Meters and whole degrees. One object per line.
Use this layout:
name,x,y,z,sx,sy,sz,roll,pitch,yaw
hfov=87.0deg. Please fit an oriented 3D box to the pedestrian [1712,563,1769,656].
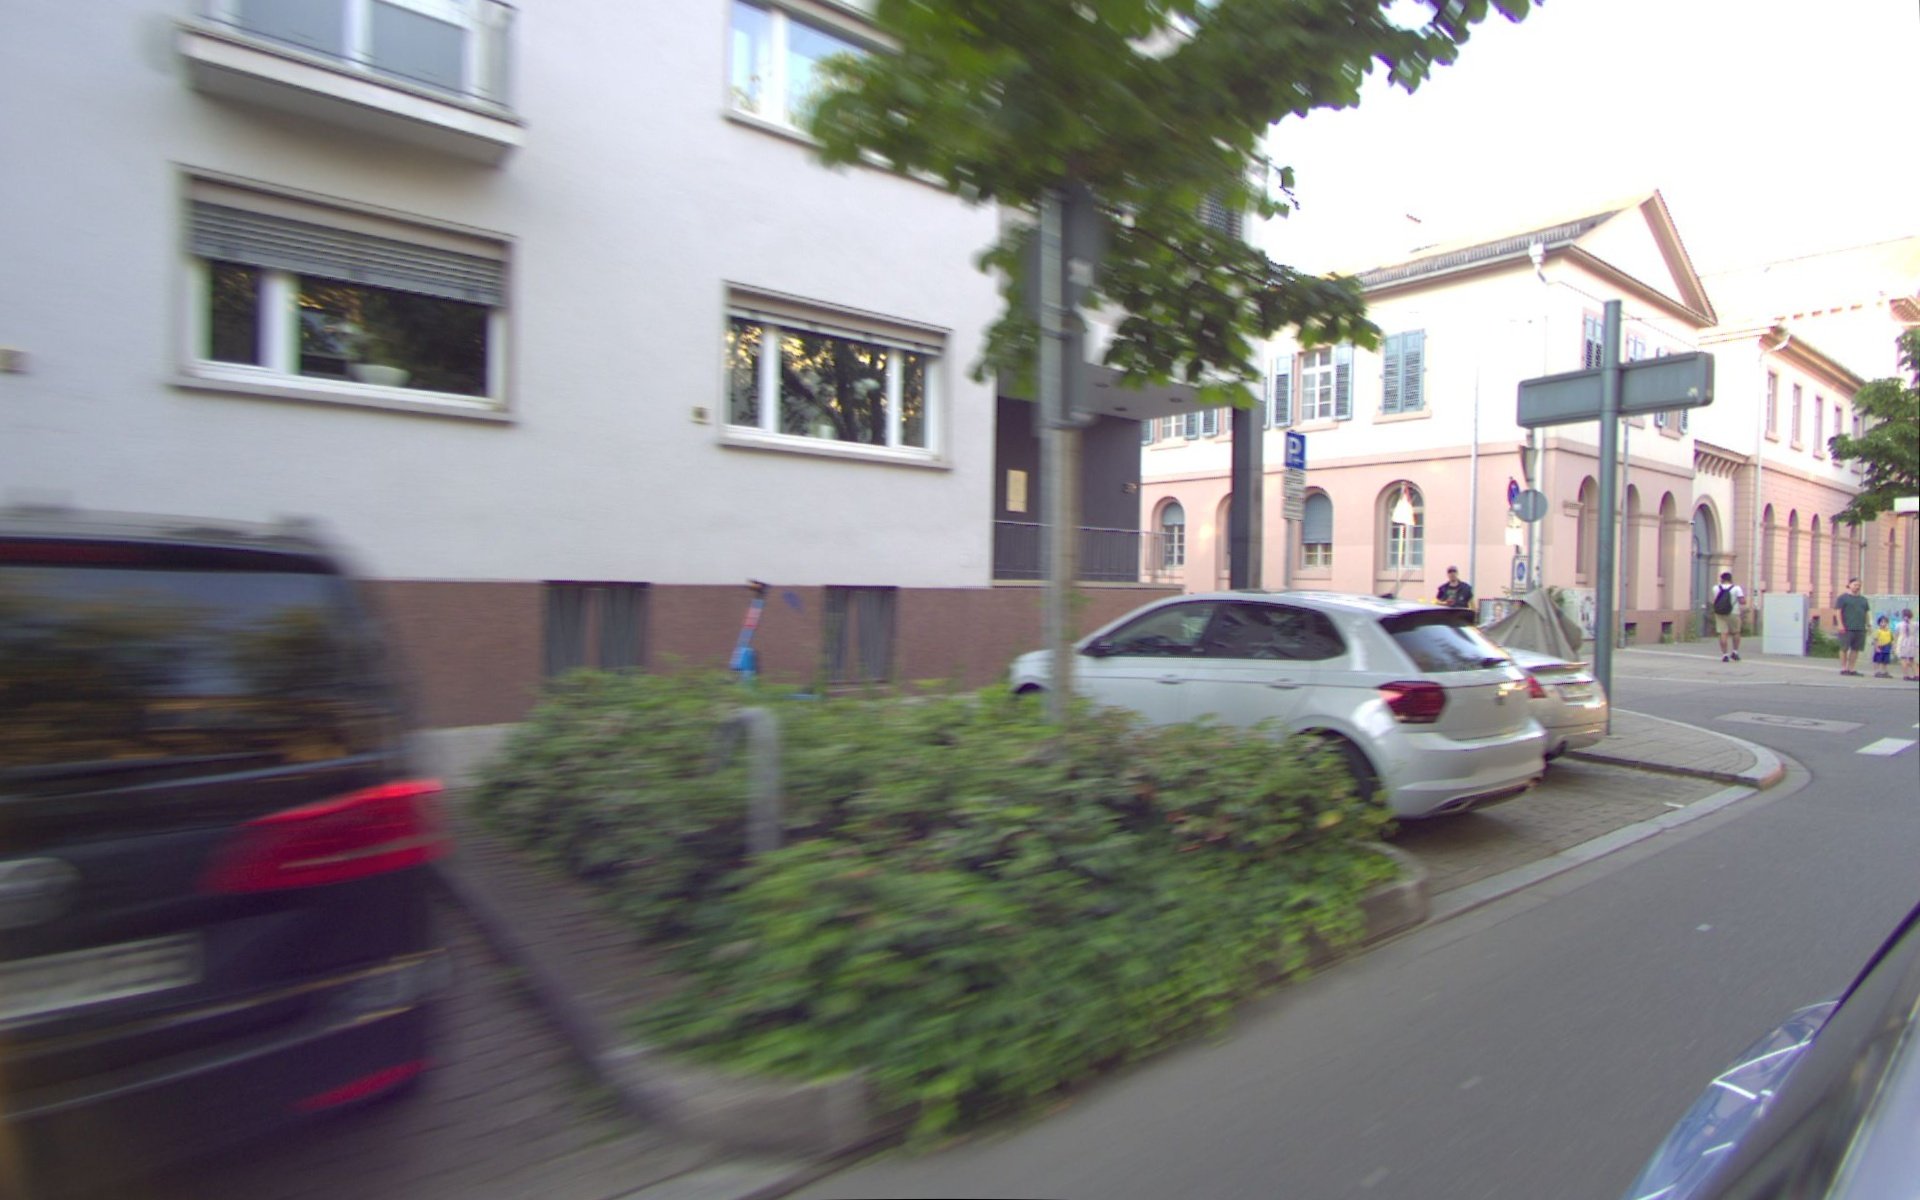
pedestrian,16.334,0.178,21.172,1.031,1.878,0.698,0,2,-42

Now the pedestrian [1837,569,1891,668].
pedestrian,16.922,0.340,18.946,0.565,1.796,0.545,0,3,-36

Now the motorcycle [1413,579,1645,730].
motorcycle,5.995,0.508,10.799,0.979,1.409,1.918,0,2,-24

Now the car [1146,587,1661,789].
car,3.778,0.600,9.296,1.760,1.349,4.002,0,2,-34

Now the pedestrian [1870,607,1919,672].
pedestrian,17.488,0.725,18.845,0.535,1.159,0.493,2,2,-1

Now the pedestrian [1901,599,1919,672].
pedestrian,17.268,0.642,18.170,0.482,1.277,0.450,0,3,-44

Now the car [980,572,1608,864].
car,2.069,0.555,7.280,1.761,1.455,3.999,0,2,-37

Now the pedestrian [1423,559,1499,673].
pedestrian,8.304,0.250,16.765,1.046,1.817,0.699,0,1,-37

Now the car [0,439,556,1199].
car,-2.909,0.483,3.348,1.924,1.637,4.122,0,2,-37

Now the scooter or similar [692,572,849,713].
scooter or similar,-1.775,0.381,9.546,1.391,1.254,0.347,1,1,-28
